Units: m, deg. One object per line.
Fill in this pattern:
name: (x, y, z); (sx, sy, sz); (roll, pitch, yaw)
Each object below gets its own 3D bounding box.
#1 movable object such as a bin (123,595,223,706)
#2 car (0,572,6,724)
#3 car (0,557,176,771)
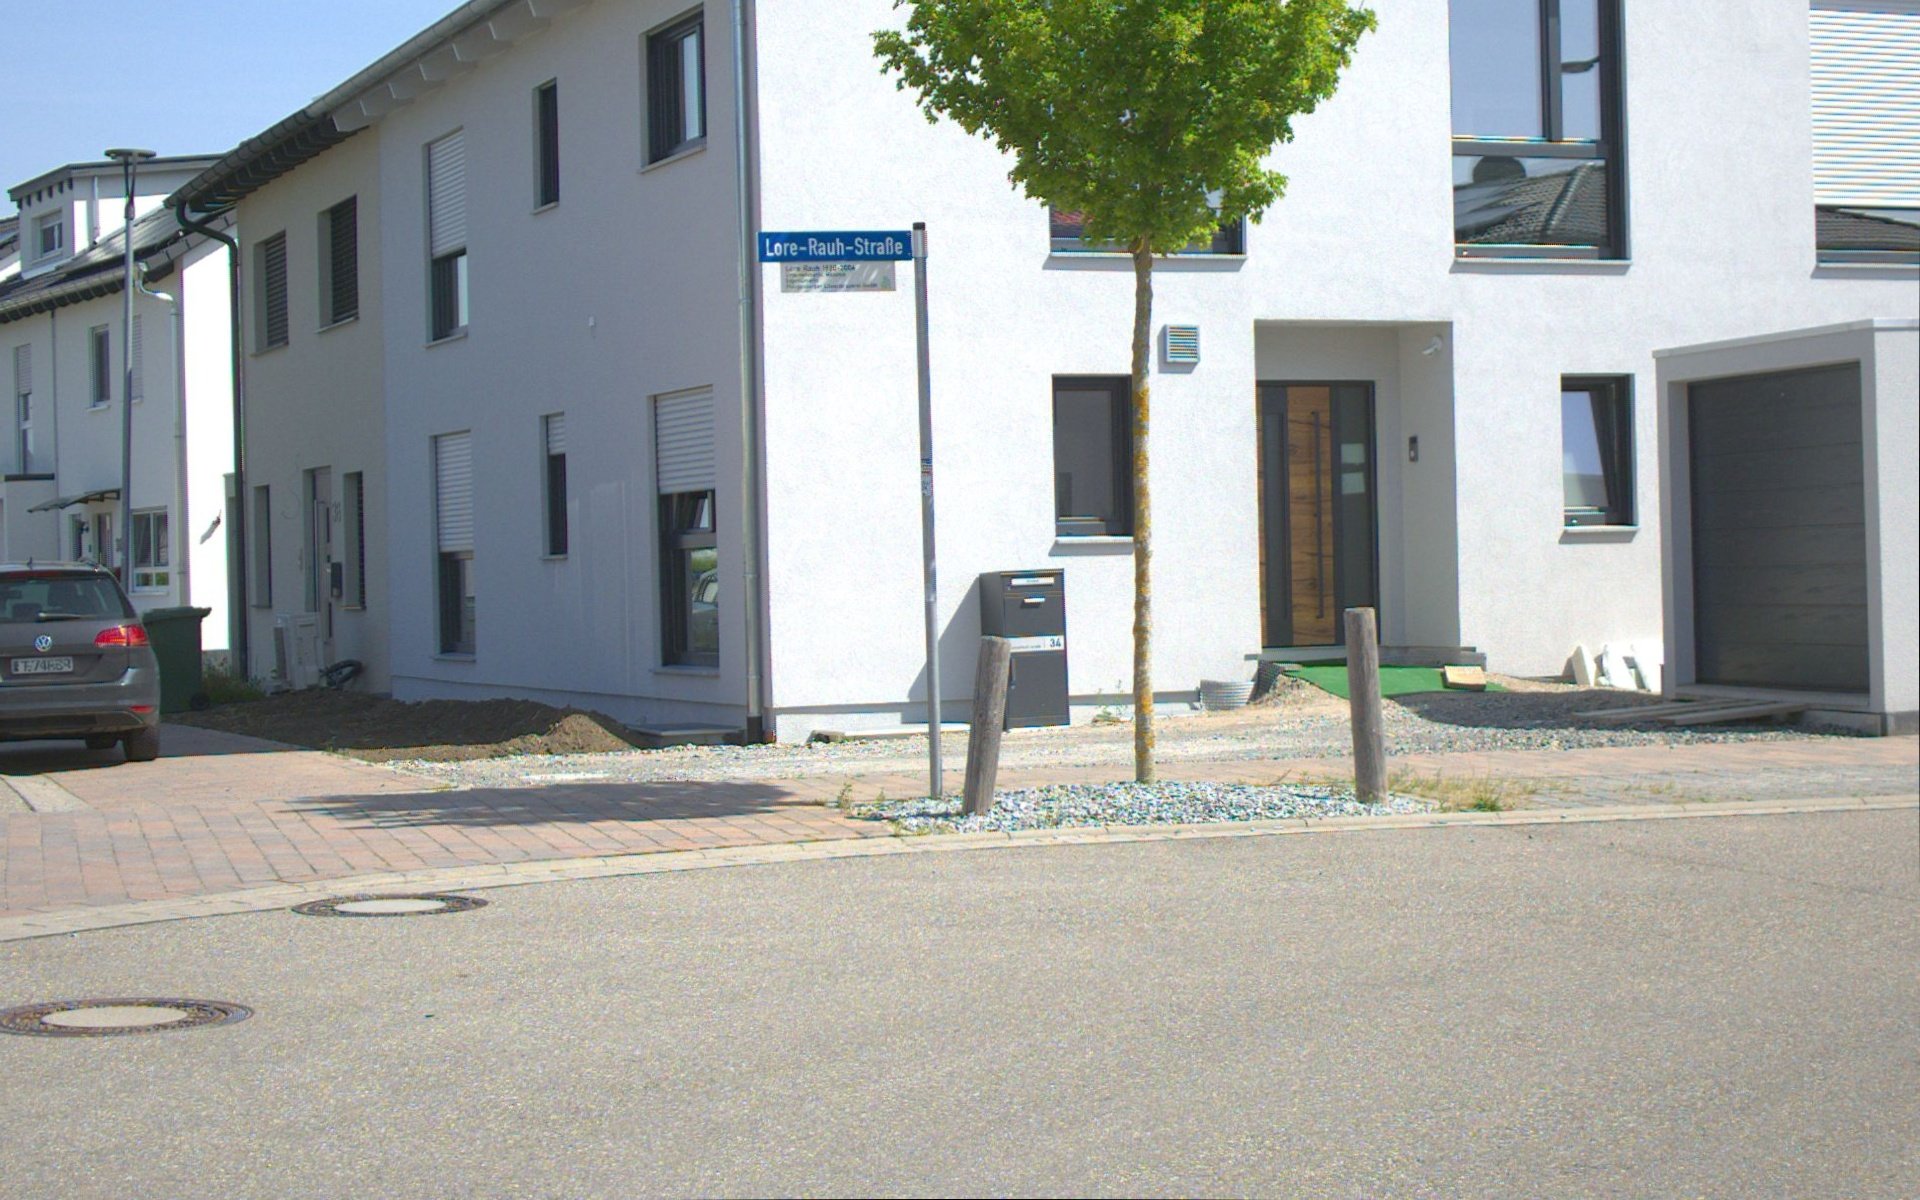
movable object such as a bin: (-7.923, 0.503, 34.584); (0.784, 1.046, 0.804); (-4, 2, -24)
car: (-10.701, 0.480, 34.597); (1.676, 1.459, 3.945); (-2, 1, -21)
car: (-6.936, 0.433, 25.192); (1.726, 1.418, 4.001); (-2, 1, -21)
